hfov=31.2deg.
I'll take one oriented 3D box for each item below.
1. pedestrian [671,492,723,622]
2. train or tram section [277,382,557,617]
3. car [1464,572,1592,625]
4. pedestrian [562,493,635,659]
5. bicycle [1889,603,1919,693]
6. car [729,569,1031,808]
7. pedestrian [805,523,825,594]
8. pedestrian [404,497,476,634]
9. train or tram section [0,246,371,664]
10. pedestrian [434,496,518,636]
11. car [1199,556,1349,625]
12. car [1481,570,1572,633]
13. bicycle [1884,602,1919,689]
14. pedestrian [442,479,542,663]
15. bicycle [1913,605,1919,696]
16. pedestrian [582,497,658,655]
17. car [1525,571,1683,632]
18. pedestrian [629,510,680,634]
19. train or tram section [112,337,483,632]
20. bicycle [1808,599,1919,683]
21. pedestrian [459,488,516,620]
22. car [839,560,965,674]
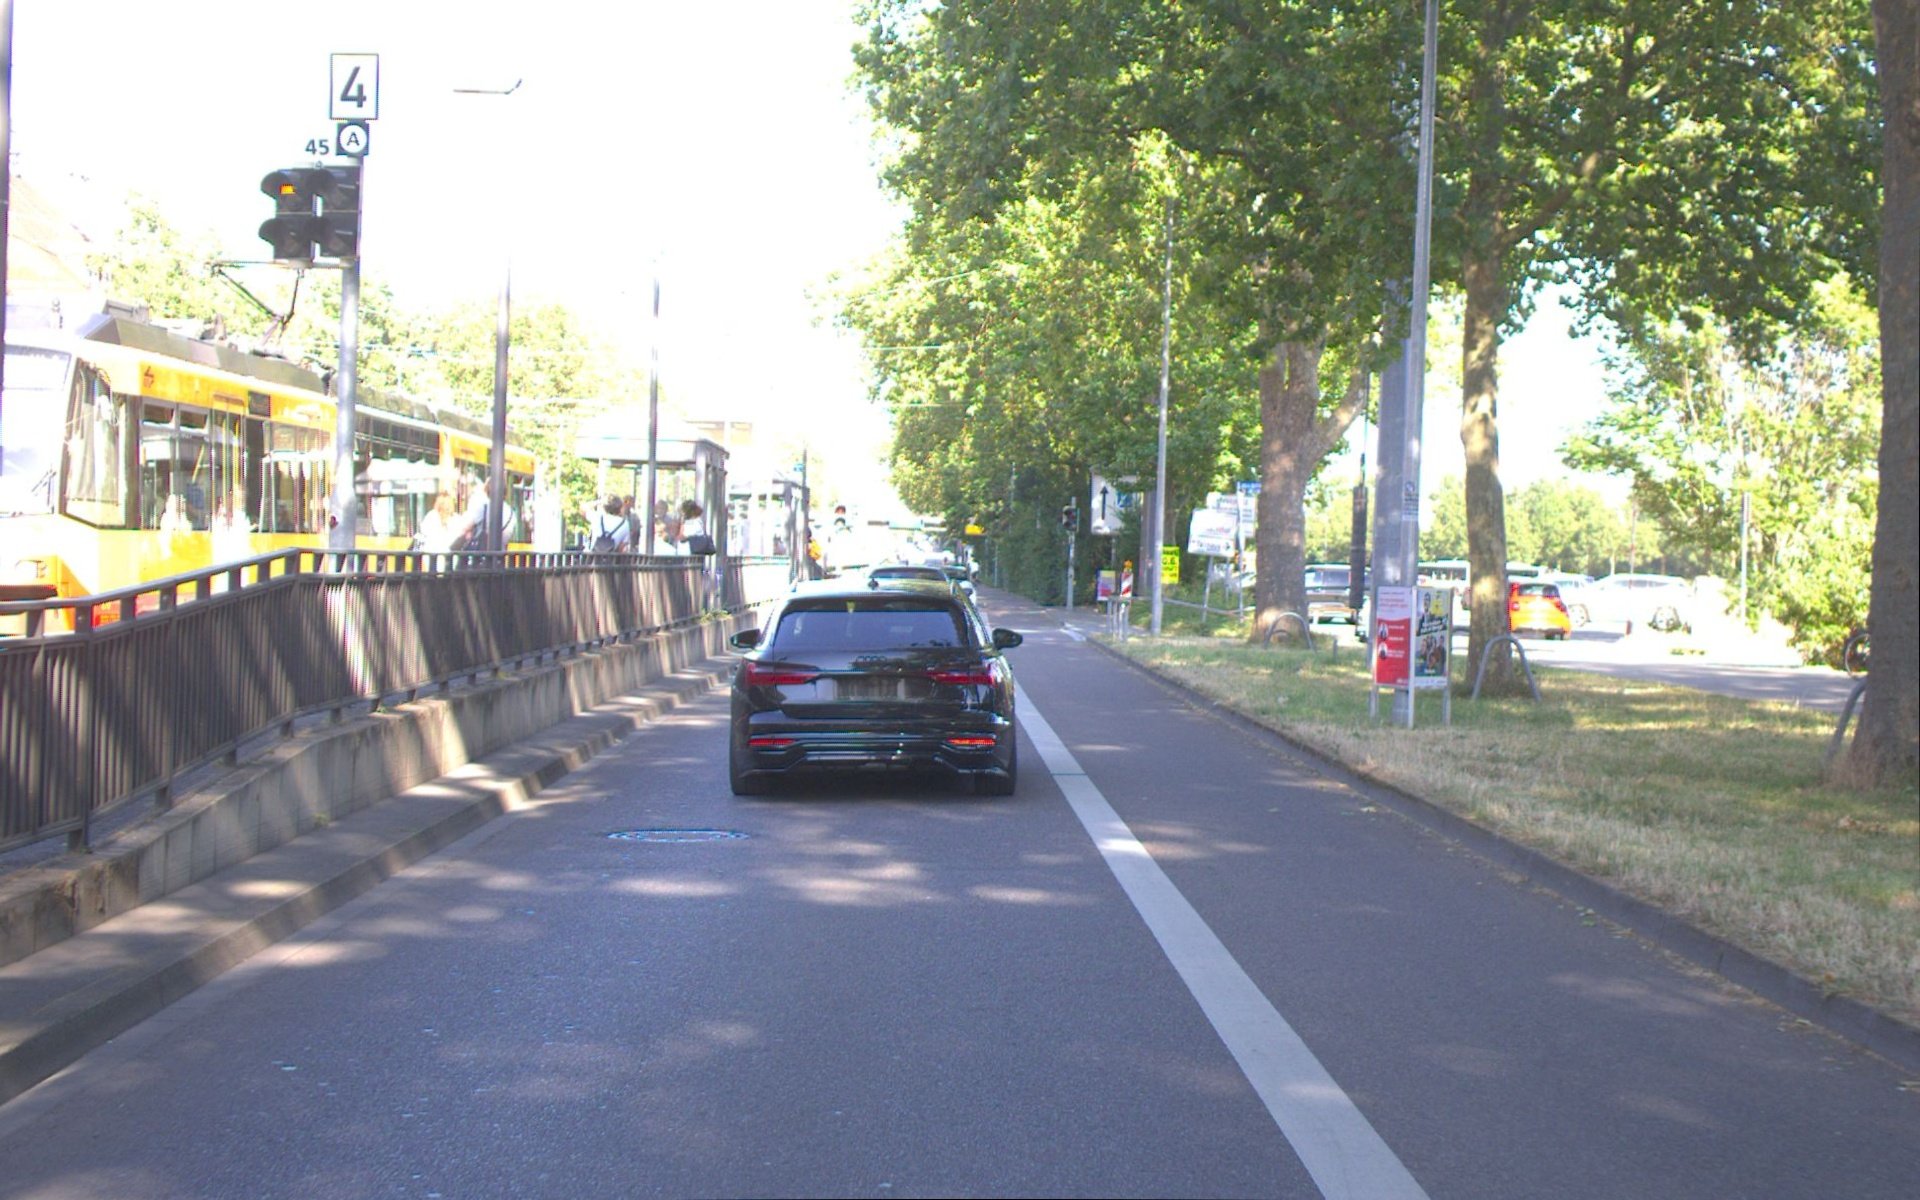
[{"bbox_3d":[-3.657,-0.604,47.885,0.611,1.778,0.613,2,0,0],"label":"pedestrian"},{"bbox_3d":[-9.836,-1.761,63.781,3.309,3.816,11.844,2,1,-1],"label":"train or tram section"},{"bbox_3d":[21.395,-0.076,129.700,4.351,1.809,2.000,2,1,-4],"label":"car"},{"bbox_3d":[-3.724,-0.248,35.419,0.611,1.663,0.613,2,0,1],"label":"pedestrian"},{"bbox_3d":[12.721,0.613,43.516,1.773,1.116,0.439,1,1,-1],"label":"bicycle"},{"bbox_3d":[-0.582,0.542,23.276,1.878,1.452,3.357,1,1,-3],"label":"car"},{"bbox_3d":[-3.579,-1.022,84.804,0.412,1.711,0.666,2,0,-1],"label":"pedestrian"},{"bbox_3d":[-6.871,-0.456,45.426,0.793,1.778,0.625,2,0,0],"label":"pedestrian"},{"bbox_3d":[-9.513,-1.466,38.788,3.309,3.816,14.220,2,1,-1],"label":"train or tram section"},{"bbox_3d":[-6.288,-0.442,44.668,0.793,1.778,0.649,2,1,-40],"label":"pedestrian"},{"bbox_3d":[8.815,-0.267,96.716,3.987,1.758,1.833,2,0,1],"label":"car"},{"bbox_3d":[14.408,0.021,87.563,1.614,1.510,3.803,2,1,0],"label":"car"},{"bbox_3d":[12.938,0.599,44.562,1.773,1.116,0.439,1,1,-1],"label":"bicycle"},{"bbox_3d":[-4.034,-0.252,29.664,0.614,1.543,0.724,2,1,10],"label":"pedestrian"},{"bbox_3d":[12.721,0.634,42.430,1.773,1.116,0.439,1,1,-1],"label":"bicycle"},{"bbox_3d":[-3.581,-0.255,36.185,0.611,1.637,0.614,2,1,-20],"label":"pedestrian"},{"bbox_3d":[19.582,0.046,104.695,4.459,1.653,1.917,2,1,4],"label":"car"},{"bbox_3d":[-4.461,-0.408,50.242,0.610,1.778,0.681,2,0,0],"label":"pedestrian"},{"bbox_3d":[-9.690,-1.617,51.907,3.309,3.816,11.844,2,1,-1],"label":"train or tram section"},{"bbox_3d":[12.490,0.565,46.811,1.773,1.116,0.439,1,1,-7],"label":"bicycle"},{"bbox_3d":[-6.484,-0.632,47.198,0.611,1.778,0.775,2,0,0],"label":"pedestrian"},{"bbox_3d":[-0.935,0.227,53.015,1.762,1.614,4.001,2,1,-3],"label":"car"}]
